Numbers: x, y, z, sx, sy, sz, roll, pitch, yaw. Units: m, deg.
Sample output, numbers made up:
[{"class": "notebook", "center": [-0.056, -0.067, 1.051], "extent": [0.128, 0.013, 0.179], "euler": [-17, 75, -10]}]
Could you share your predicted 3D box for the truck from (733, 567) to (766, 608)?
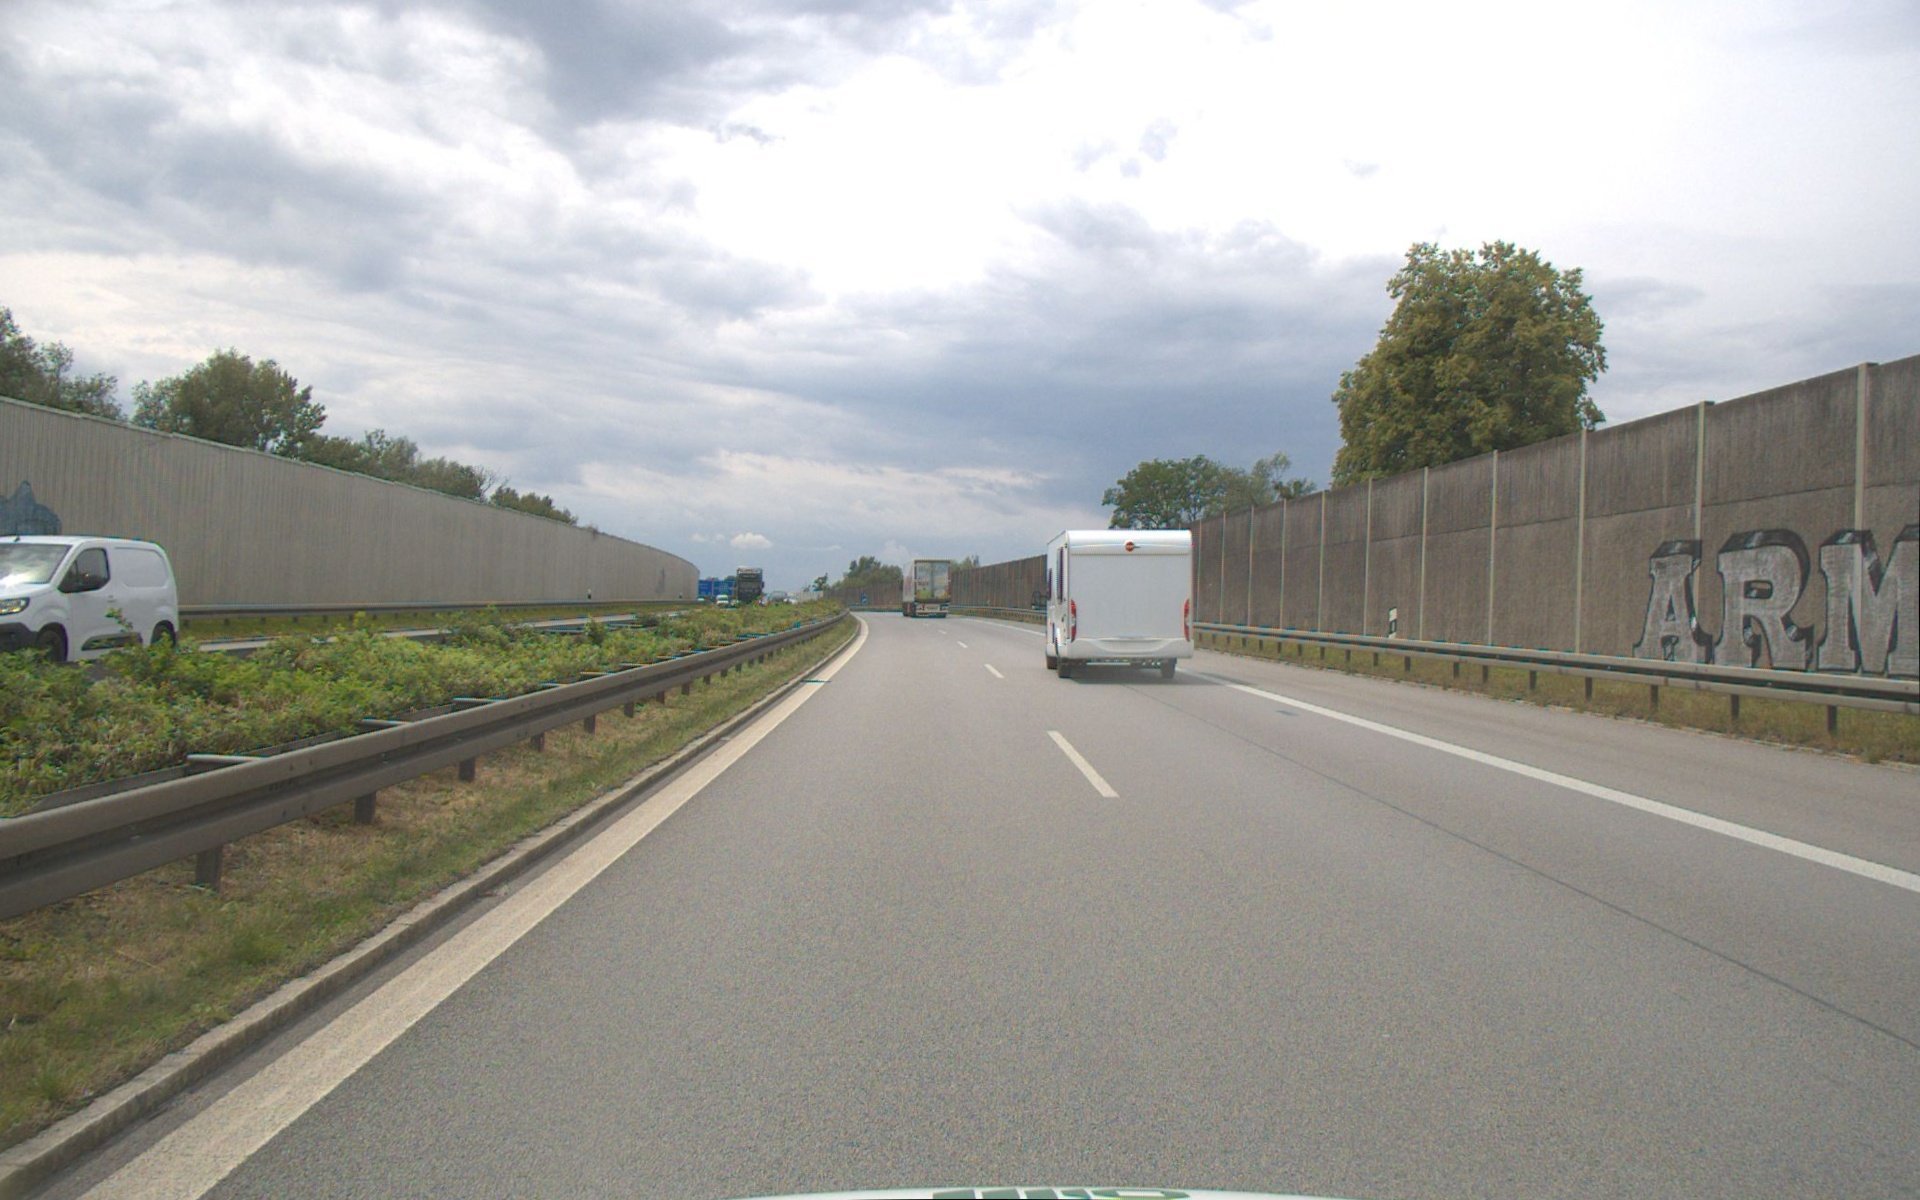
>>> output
[{"class": "truck", "center": [-20.858, -1.207, 164.142], "extent": [2.817, 3.926, 6.069], "euler": [-1, 0, -4]}]

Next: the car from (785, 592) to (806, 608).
[{"class": "car", "center": [-16.639, -0.008, 167.585], "extent": [1.892, 1.576, 4.564], "euler": [1, 0, -3]}]

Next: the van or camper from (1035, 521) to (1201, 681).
[{"class": "van or camper", "center": [2.904, 0.009, 32.283], "extent": [2.380, 2.744, 7.223], "euler": [1, 0, -1]}]

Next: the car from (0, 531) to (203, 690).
[{"class": "car", "center": [-11.370, 0.109, 20.747], "extent": [1.706, 1.775, 4.626], "euler": [0, 0, -1]}]

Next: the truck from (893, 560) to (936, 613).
[{"class": "truck", "center": [-3.589, -1.033, 129.259], "extent": [2.704, 4.029, 5.667], "euler": [0, -1, -8]}]

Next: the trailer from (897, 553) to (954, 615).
[{"class": "trailer", "center": [-2.679, -1.164, 122.868], "extent": [2.739, 4.247, 14.081], "euler": [1, 0, -7]}]

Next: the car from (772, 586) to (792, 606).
[{"class": "car", "center": [-15.440, -0.329, 143.793], "extent": [1.683, 1.670, 4.698], "euler": [1, 0, -6]}]
